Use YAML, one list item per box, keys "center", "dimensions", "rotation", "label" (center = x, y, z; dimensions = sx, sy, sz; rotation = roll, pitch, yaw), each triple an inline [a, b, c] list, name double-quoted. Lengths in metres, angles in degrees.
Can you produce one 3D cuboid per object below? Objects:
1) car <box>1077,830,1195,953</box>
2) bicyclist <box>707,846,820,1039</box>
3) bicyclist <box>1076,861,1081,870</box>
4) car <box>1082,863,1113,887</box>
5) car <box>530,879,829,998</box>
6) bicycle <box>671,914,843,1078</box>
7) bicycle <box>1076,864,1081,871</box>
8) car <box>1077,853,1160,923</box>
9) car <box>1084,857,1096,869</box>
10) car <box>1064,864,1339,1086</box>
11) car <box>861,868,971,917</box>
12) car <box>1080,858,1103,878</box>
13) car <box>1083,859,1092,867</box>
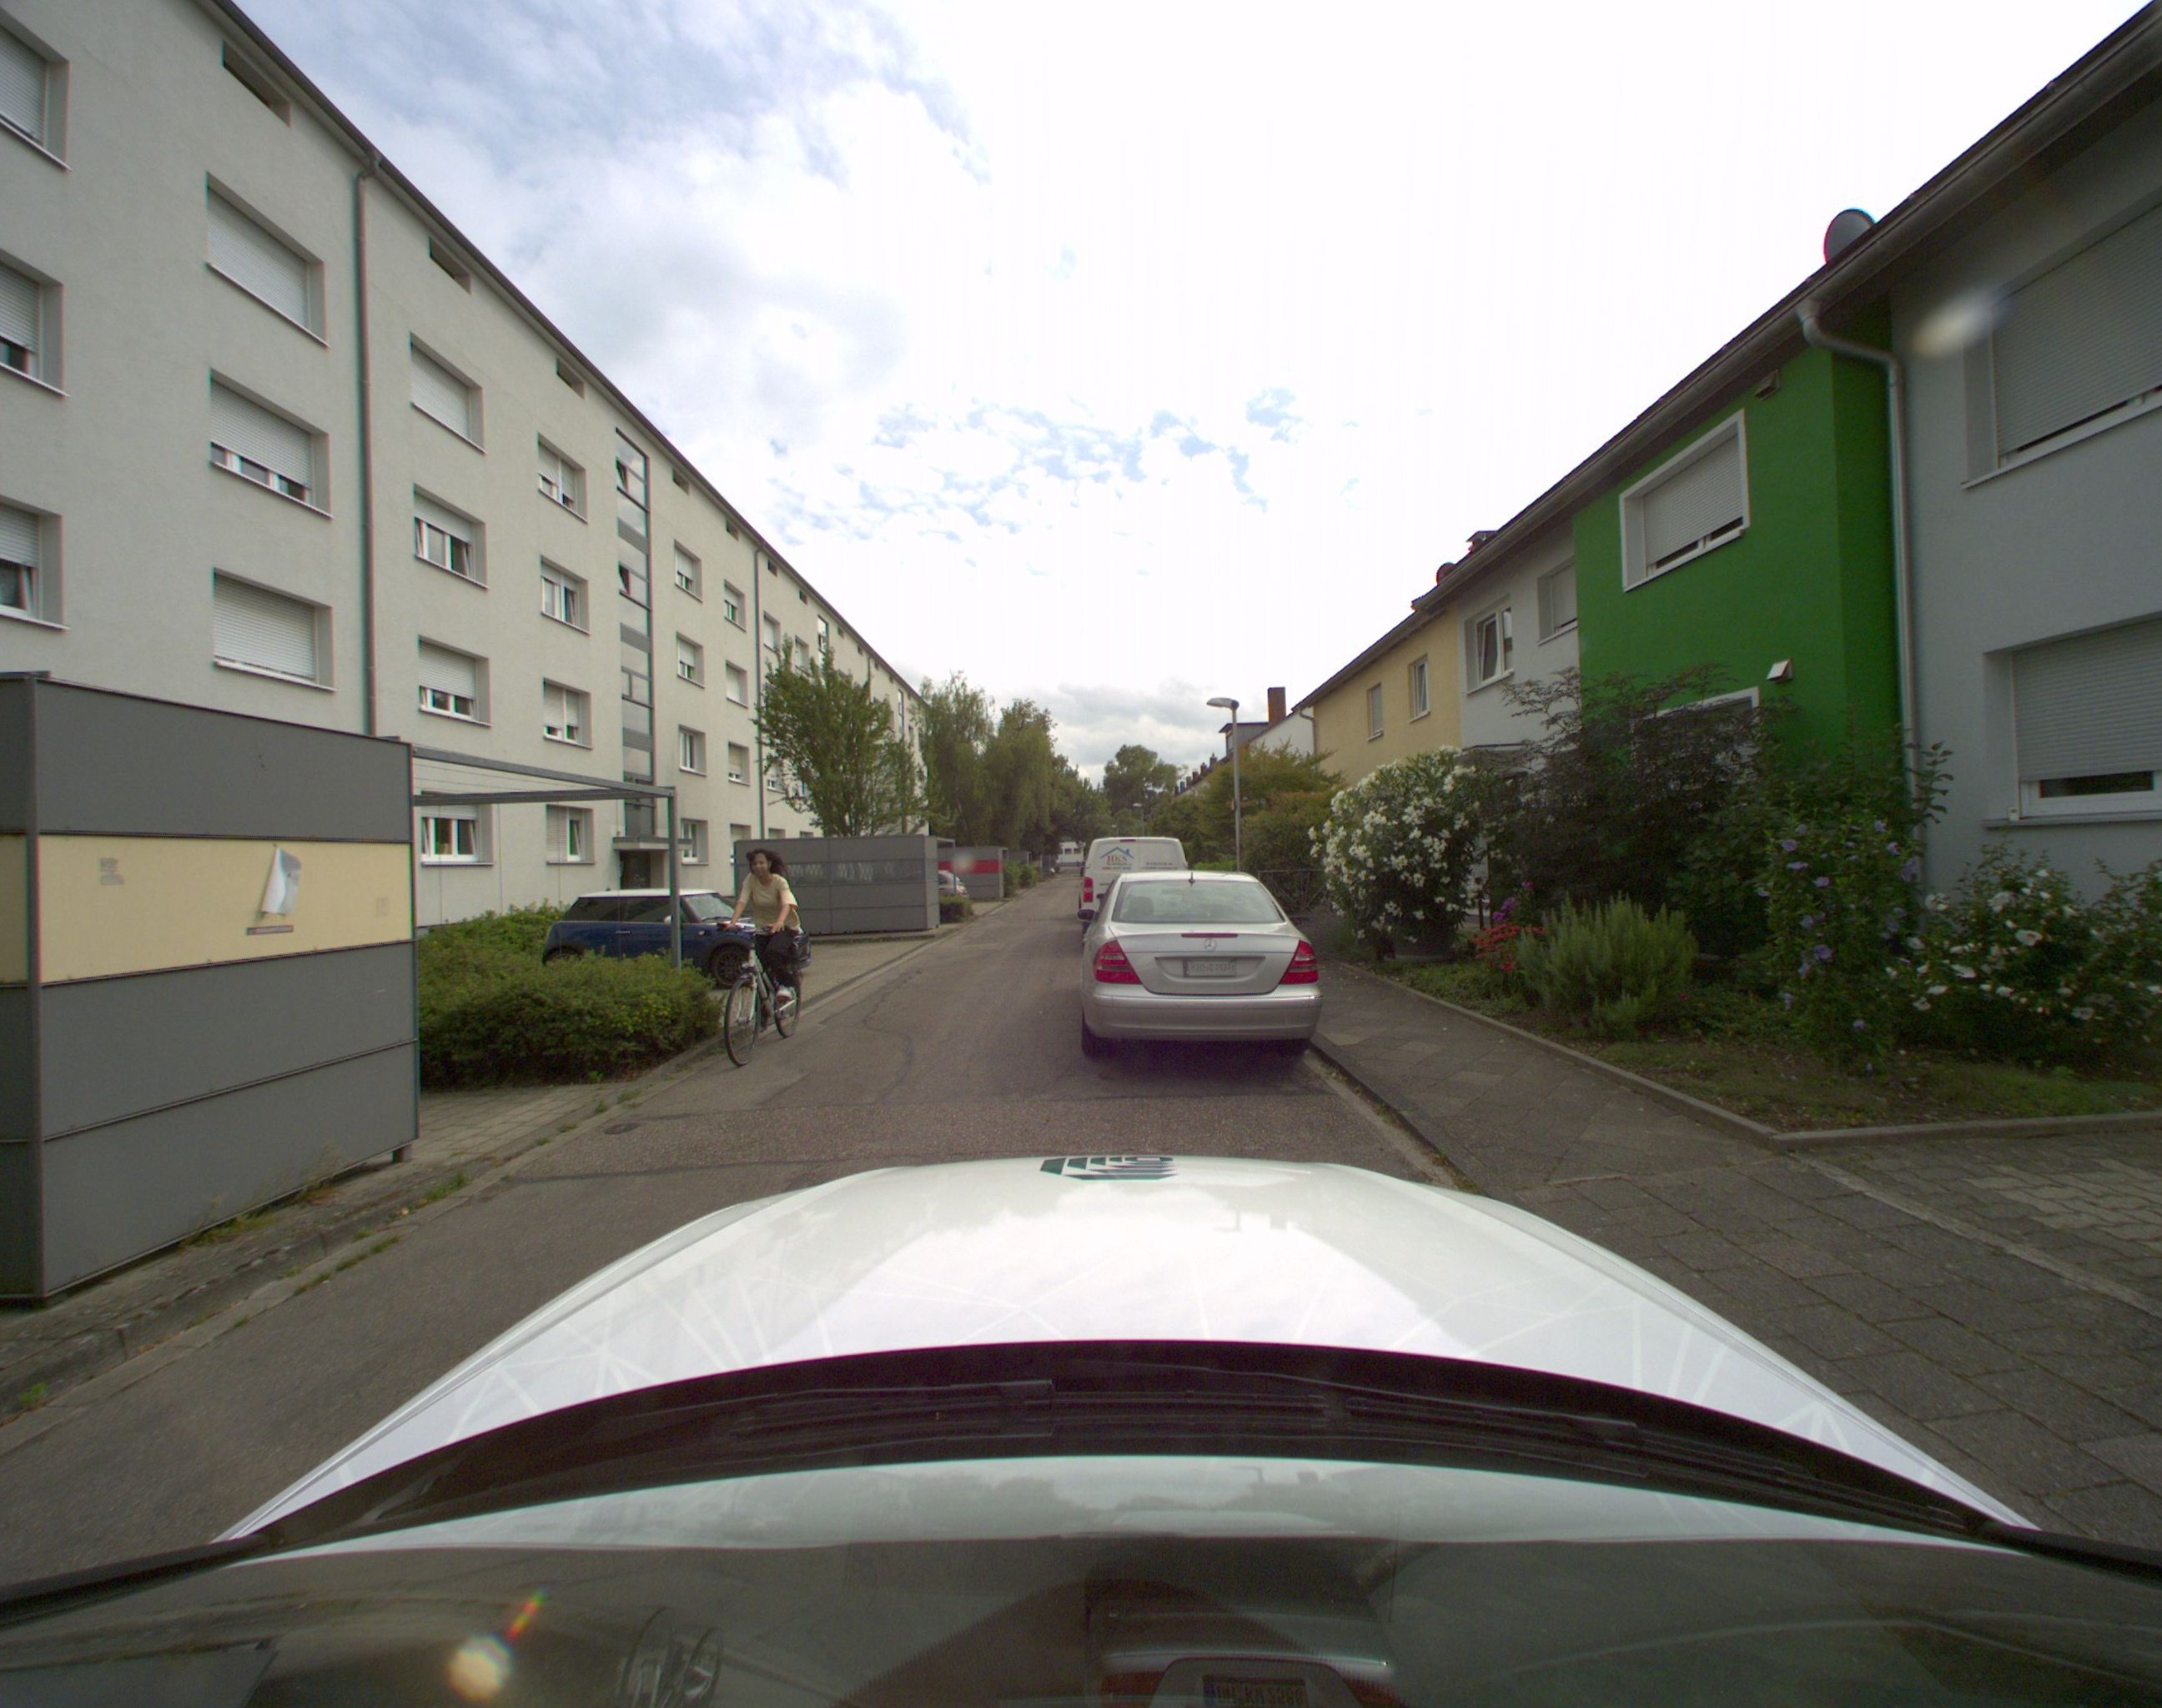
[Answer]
- center: [0.877, 0.634, 15.787]
  dimensions: [1.898, 1.964, 5.252]
  rotation: [-1, -1, 0]
  label: "car"
- center: [-2.781, 0.743, 7.200]
  dimensions: [0.595, 1.581, 0.767]
  rotation: [-3, -1, 1]
  label: "bicyclist"
- center: [-0.427, 2.141, 150.068]
  dimensions: [0.795, 1.511, 0.934]
  rotation: [0, -1, 2]
  label: "bicyclist"
- center: [0.987, 1.214, 49.026]
  dimensions: [1.819, 1.370, 4.331]
  rotation: [0, 0, 1]
  label: "car"
- center: [-5.918, 1.214, 12.269]
  dimensions: [3.619, 1.461, 1.654]
  rotation: [-3, -1, 3]
  label: "car"
- center: [-2.757, 1.150, 7.204]
  dimensions: [0.595, 1.076, 2.043]
  rotation: [-3, -1, 2]
  label: "bicycle"
- center: [-0.427, 2.463, 150.081]
  dimensions: [0.686, 1.131, 2.580]
  rotation: [0, -1, 2]
  label: "bicycle"
- center: [0.887, 0.836, 21.630]
  dimensions: [1.820, 1.636, 4.157]
  rotation: [-1, -1, -3]
  label: "car"
- center: [1.420, 1.354, 124.586]
  dimensions: [1.819, 1.883, 4.000]
  rotation: [0, 0, 1]
  label: "car"
- center: [0.860, 0.817, 7.558]
  dimensions: [1.777, 1.421, 4.457]
  rotation: [-1, -1, 2]
  label: "car"
- center: [-5.821, 1.336, 29.038]
  dimensions: [3.555, 1.480, 1.708]
  rotation: [-3, 0, -5]
  label: "car"
- center: [0.843, 1.159, 68.005]
  dimensions: [1.820, 1.581, 3.998]
  rotation: [0, 0, -1]
  label: "car"
- center: [1.278, 1.830, 165.452]
  dimensions: [1.819, 1.581, 4.000]
  rotation: [0, 0, 1]
  label: "car"
